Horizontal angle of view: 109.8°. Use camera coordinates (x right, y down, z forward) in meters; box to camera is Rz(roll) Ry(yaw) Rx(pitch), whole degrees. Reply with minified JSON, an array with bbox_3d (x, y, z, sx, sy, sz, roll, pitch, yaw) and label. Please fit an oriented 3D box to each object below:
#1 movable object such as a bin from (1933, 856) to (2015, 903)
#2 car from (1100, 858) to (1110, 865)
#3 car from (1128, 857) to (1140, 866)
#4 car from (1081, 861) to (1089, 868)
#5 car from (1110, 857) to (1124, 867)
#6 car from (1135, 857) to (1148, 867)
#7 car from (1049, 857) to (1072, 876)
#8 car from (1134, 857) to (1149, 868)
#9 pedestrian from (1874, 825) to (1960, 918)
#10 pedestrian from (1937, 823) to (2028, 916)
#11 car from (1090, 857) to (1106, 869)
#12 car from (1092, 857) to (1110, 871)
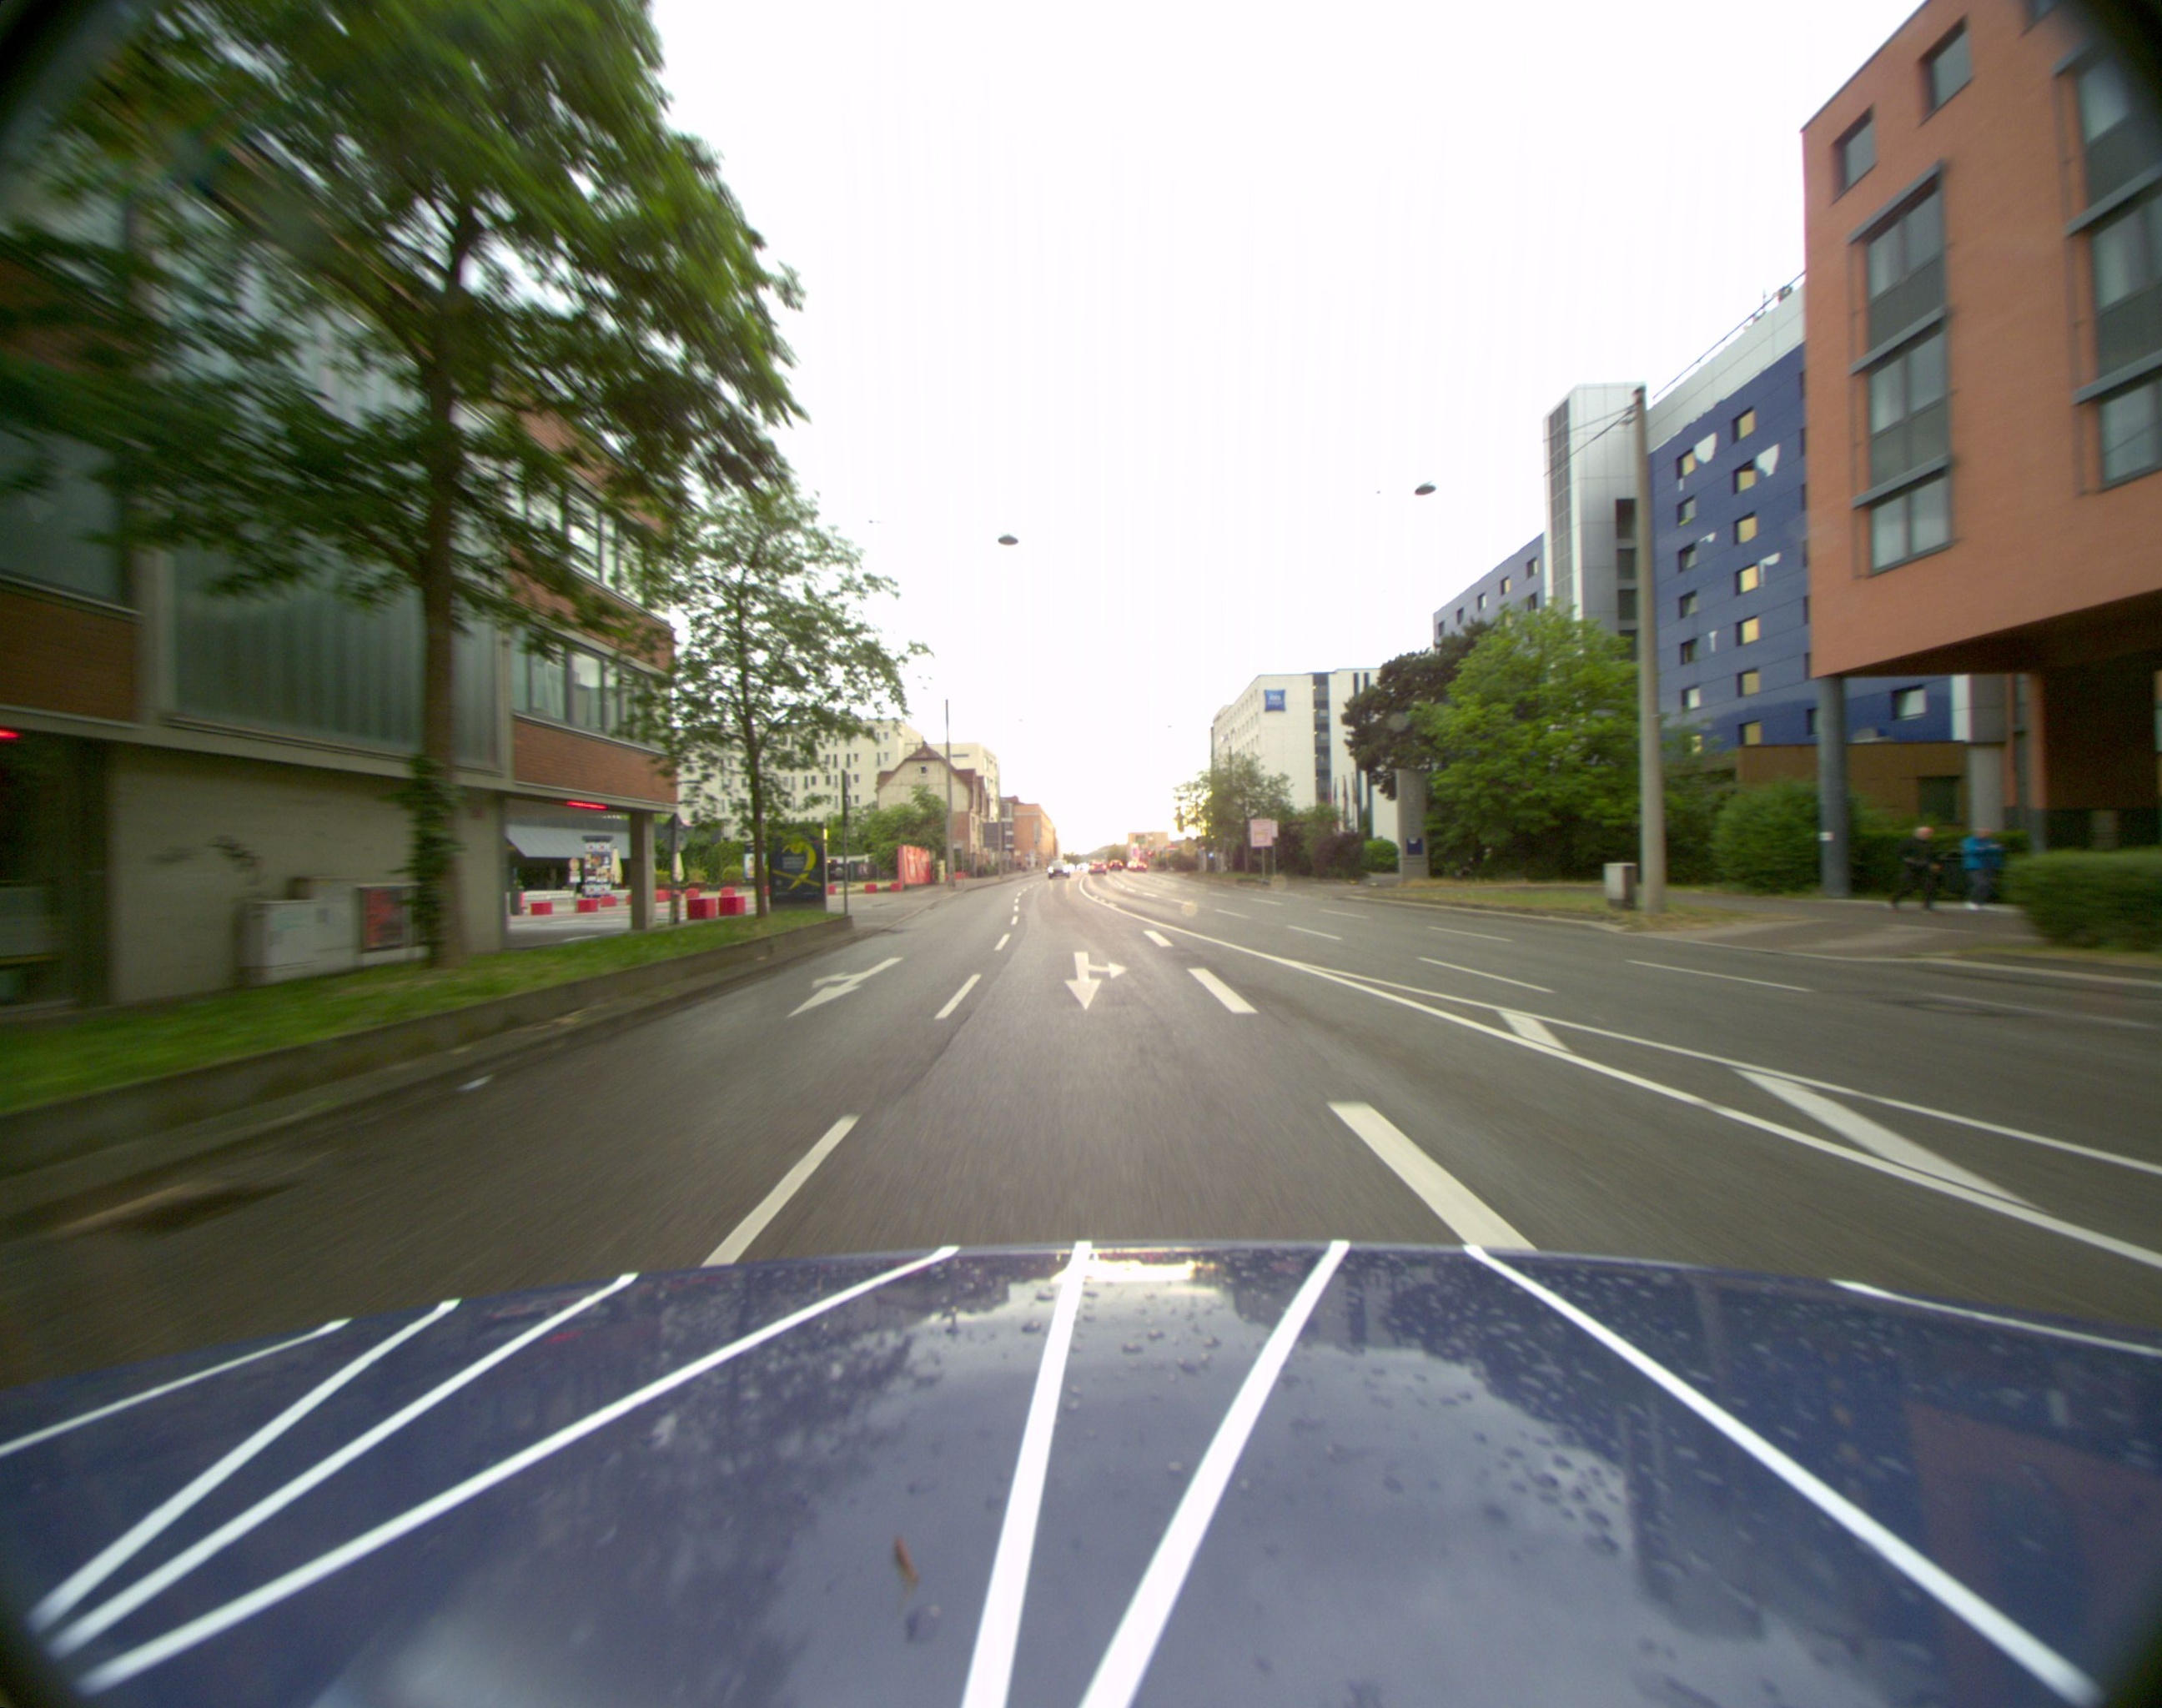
[{"bbox_3d":[24.245,0.675,20.649,0.782,1.240,1.210,-1,0,-3],"label":"movable object such as a bin"},{"bbox_3d":[5.142,1.648,164.851,1.998,1.543,4.000,-1,0,1],"label":"car"},{"bbox_3d":[8.987,1.294,129.071,1.767,1.559,4.000,1,0,-1],"label":"car"},{"bbox_3d":[0.928,2.533,178.698,1.798,1.501,4.001,0,-1,1],"label":"car"},{"bbox_3d":[5.766,1.316,121.462,1.998,1.543,4.000,-1,0,1],"label":"car"},{"bbox_3d":[9.401,1.190,118.532,1.767,1.559,4.000,1,0,-1],"label":"car"},{"bbox_3d":[-1.949,1.154,72.897,1.998,1.656,5.424,-2,0,0],"label":"car"},{"bbox_3d":[8.683,1.233,109.480,1.767,1.559,3.999,1,0,-2],"label":"car"},{"bbox_3d":[17.257,0.356,15.702,0.747,1.830,0.886,-2,0,1],"label":"pedestrian"},{"bbox_3d":[18.538,0.318,15.646,0.747,1.830,0.886,-2,0,1],"label":"pedestrian"},{"bbox_3d":[2.235,1.125,99.476,1.998,1.543,4.000,-1,0,1],"label":"car"},{"bbox_3d":[2.322,1.178,88.731,1.998,1.543,4.000,-1,0,1],"label":"car"}]
